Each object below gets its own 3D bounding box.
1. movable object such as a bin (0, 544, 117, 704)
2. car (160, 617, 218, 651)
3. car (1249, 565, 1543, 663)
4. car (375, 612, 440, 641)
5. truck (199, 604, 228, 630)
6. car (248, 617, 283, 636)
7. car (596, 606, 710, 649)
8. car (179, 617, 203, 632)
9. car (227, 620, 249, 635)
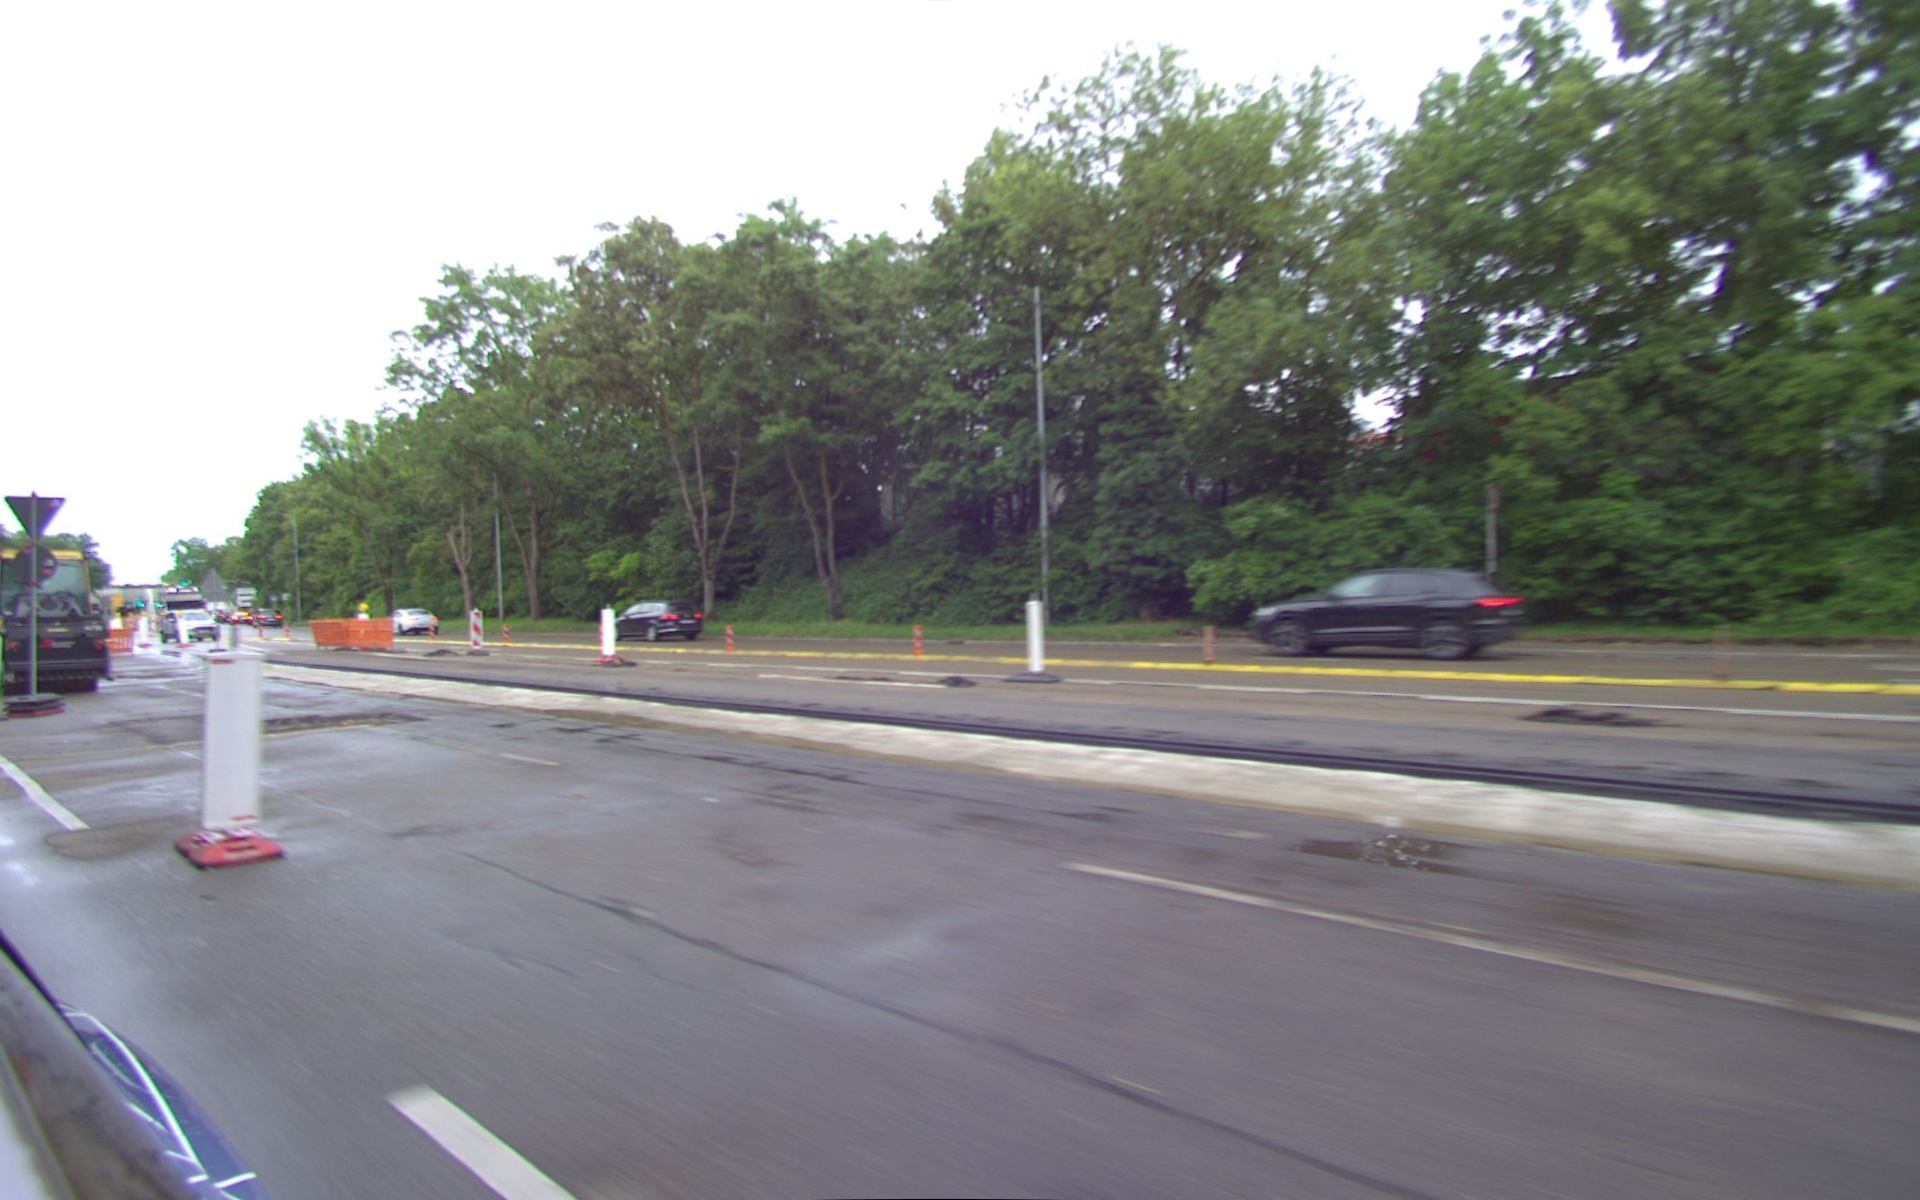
[{"bbox_3d":[-19.426,0.473,21.401,5.245,3.008,1.784,-1,0,43],"label":"movable object such as a bin"},{"bbox_3d":[-38.933,1.699,51.100,3.863,1.596,1.769,-1,1,45],"label":"car"},{"bbox_3d":[8.276,0.295,19.515,4.909,1.676,1.759,-1,-1,39],"label":"car"},{"bbox_3d":[-30.017,1.419,54.934,4.468,1.437,1.765,-1,0,42],"label":"car"},{"bbox_3d":[-117.611,2.631,159.340,3.104,3.860,9.661,-1,0,-40],"label":"truck"},{"bbox_3d":[-61.230,2.323,89.183,4.769,1.626,1.656,-2,-1,45],"label":"car"},{"bbox_3d":[-11.424,1.021,37.490,4.678,1.463,1.766,-1,0,40],"label":"car"},{"bbox_3d":[-85.258,2.718,112.243,1.655,1.626,3.772,0,-1,-44],"label":"car"},{"bbox_3d":[-75.361,2.864,105.601,1.601,1.495,3.613,0,-1,-40],"label":"car"}]
